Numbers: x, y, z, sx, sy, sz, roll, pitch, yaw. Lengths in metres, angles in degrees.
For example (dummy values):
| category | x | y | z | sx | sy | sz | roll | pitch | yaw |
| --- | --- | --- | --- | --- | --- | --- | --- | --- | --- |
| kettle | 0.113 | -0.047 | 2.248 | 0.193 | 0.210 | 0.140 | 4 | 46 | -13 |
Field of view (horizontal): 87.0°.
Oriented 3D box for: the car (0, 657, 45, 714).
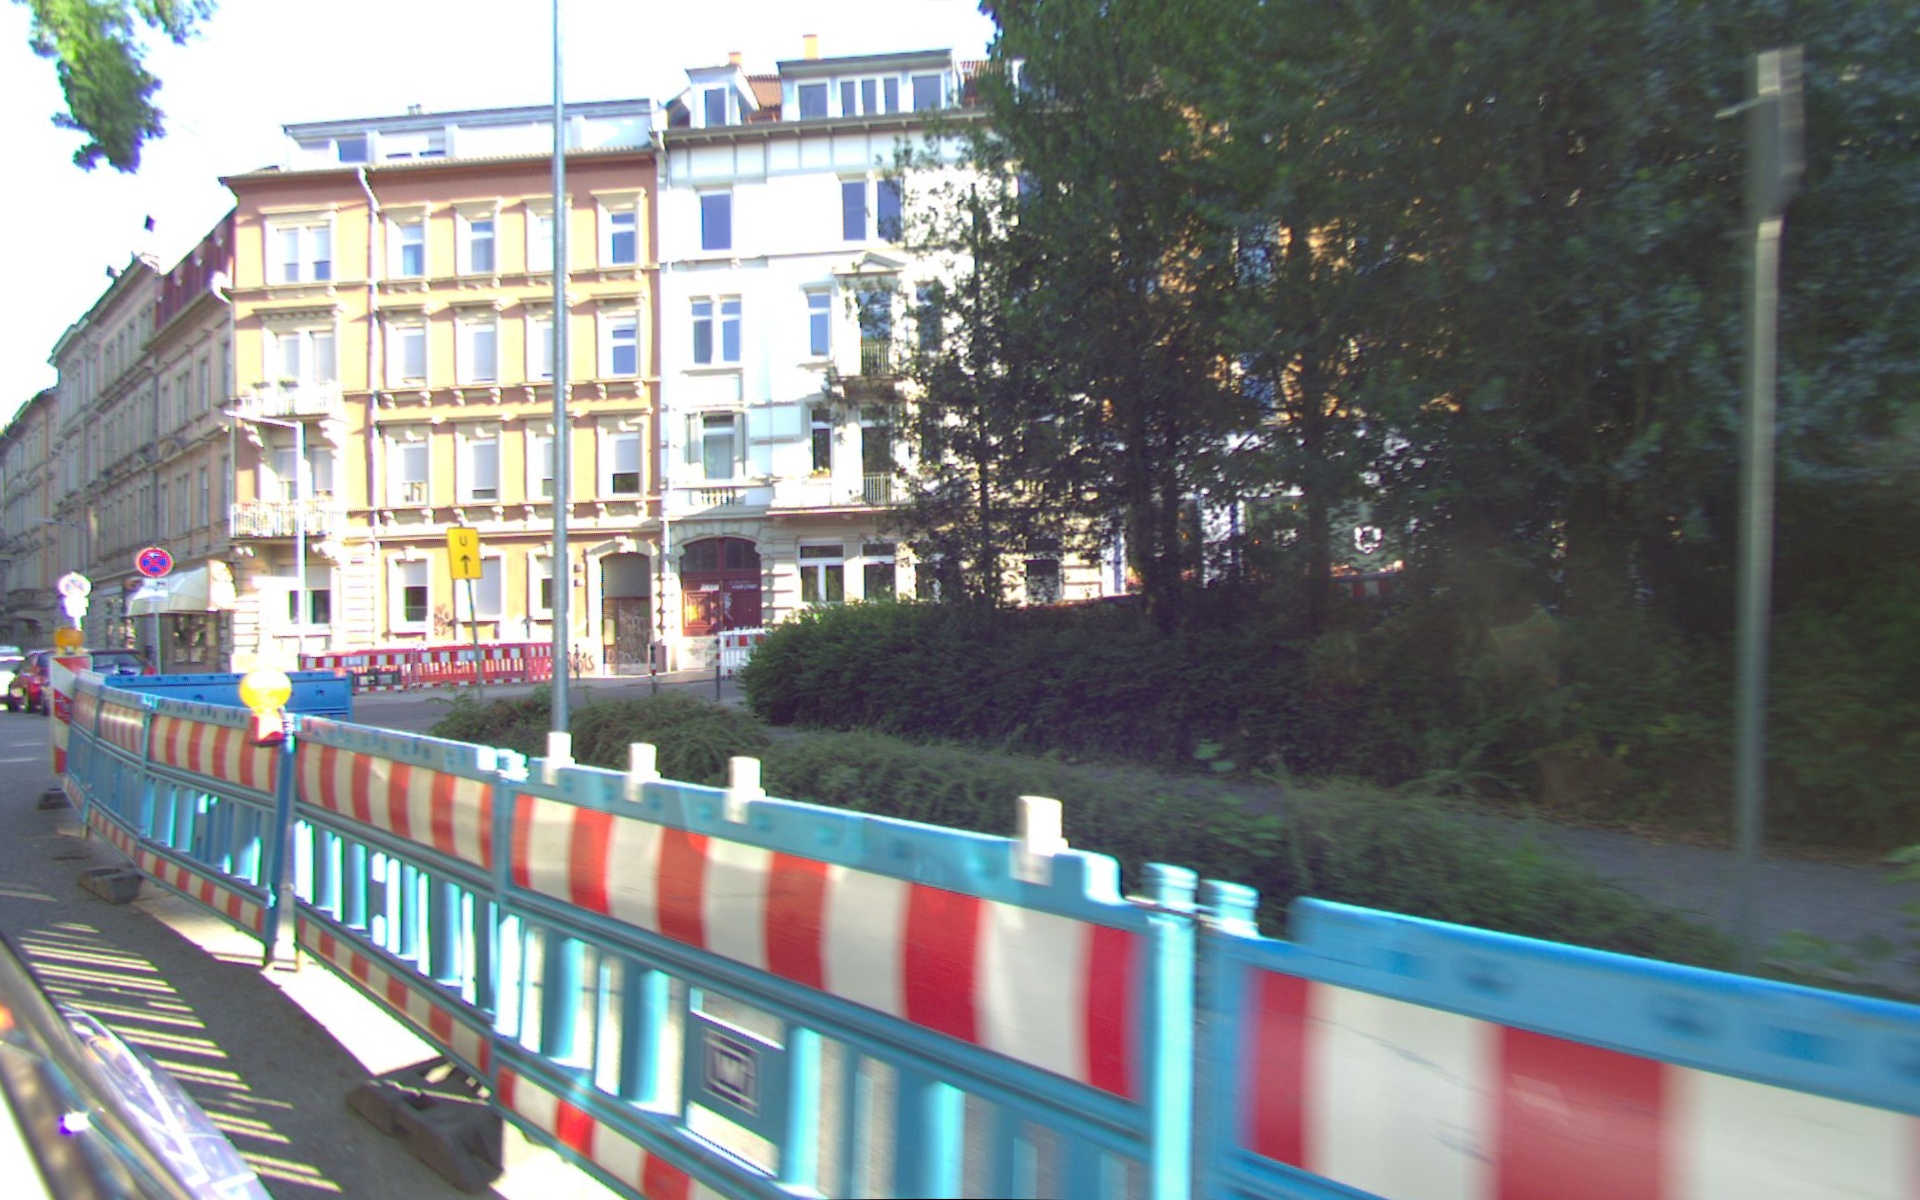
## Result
| category | x | y | z | sx | sy | sz | roll | pitch | yaw |
| --- | --- | --- | --- | --- | --- | --- | --- | --- | --- |
| car | -30.459 | 2.665 | 32.051 | 4.192 | 1.581 | 1.681 | -1 | -3 | 41 |

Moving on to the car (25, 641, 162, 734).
| category | x | y | z | sx | sy | sz | roll | pitch | yaw |
| --- | --- | --- | --- | --- | --- | --- | --- | --- | --- |
| car | -19.393 | 1.861 | 22.600 | 4.192 | 1.818 | 1.681 | -1 | -3 | 41 |

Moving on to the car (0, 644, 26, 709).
| category | x | y | z | sx | sy | sz | roll | pitch | yaw |
| --- | --- | --- | --- | --- | --- | --- | --- | --- | --- |
| car | -34.378 | 2.644 | 35.640 | 4.192 | 2.132 | 1.681 | -1 | -3 | 41 |

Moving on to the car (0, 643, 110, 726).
| category | x | y | z | sx | sy | sz | roll | pitch | yaw |
| --- | --- | --- | --- | --- | --- | --- | --- | --- | --- |
| car | -23.087 | 2.061 | 25.659 | 4.192 | 1.854 | 1.681 | -1 | -3 | 41 |
